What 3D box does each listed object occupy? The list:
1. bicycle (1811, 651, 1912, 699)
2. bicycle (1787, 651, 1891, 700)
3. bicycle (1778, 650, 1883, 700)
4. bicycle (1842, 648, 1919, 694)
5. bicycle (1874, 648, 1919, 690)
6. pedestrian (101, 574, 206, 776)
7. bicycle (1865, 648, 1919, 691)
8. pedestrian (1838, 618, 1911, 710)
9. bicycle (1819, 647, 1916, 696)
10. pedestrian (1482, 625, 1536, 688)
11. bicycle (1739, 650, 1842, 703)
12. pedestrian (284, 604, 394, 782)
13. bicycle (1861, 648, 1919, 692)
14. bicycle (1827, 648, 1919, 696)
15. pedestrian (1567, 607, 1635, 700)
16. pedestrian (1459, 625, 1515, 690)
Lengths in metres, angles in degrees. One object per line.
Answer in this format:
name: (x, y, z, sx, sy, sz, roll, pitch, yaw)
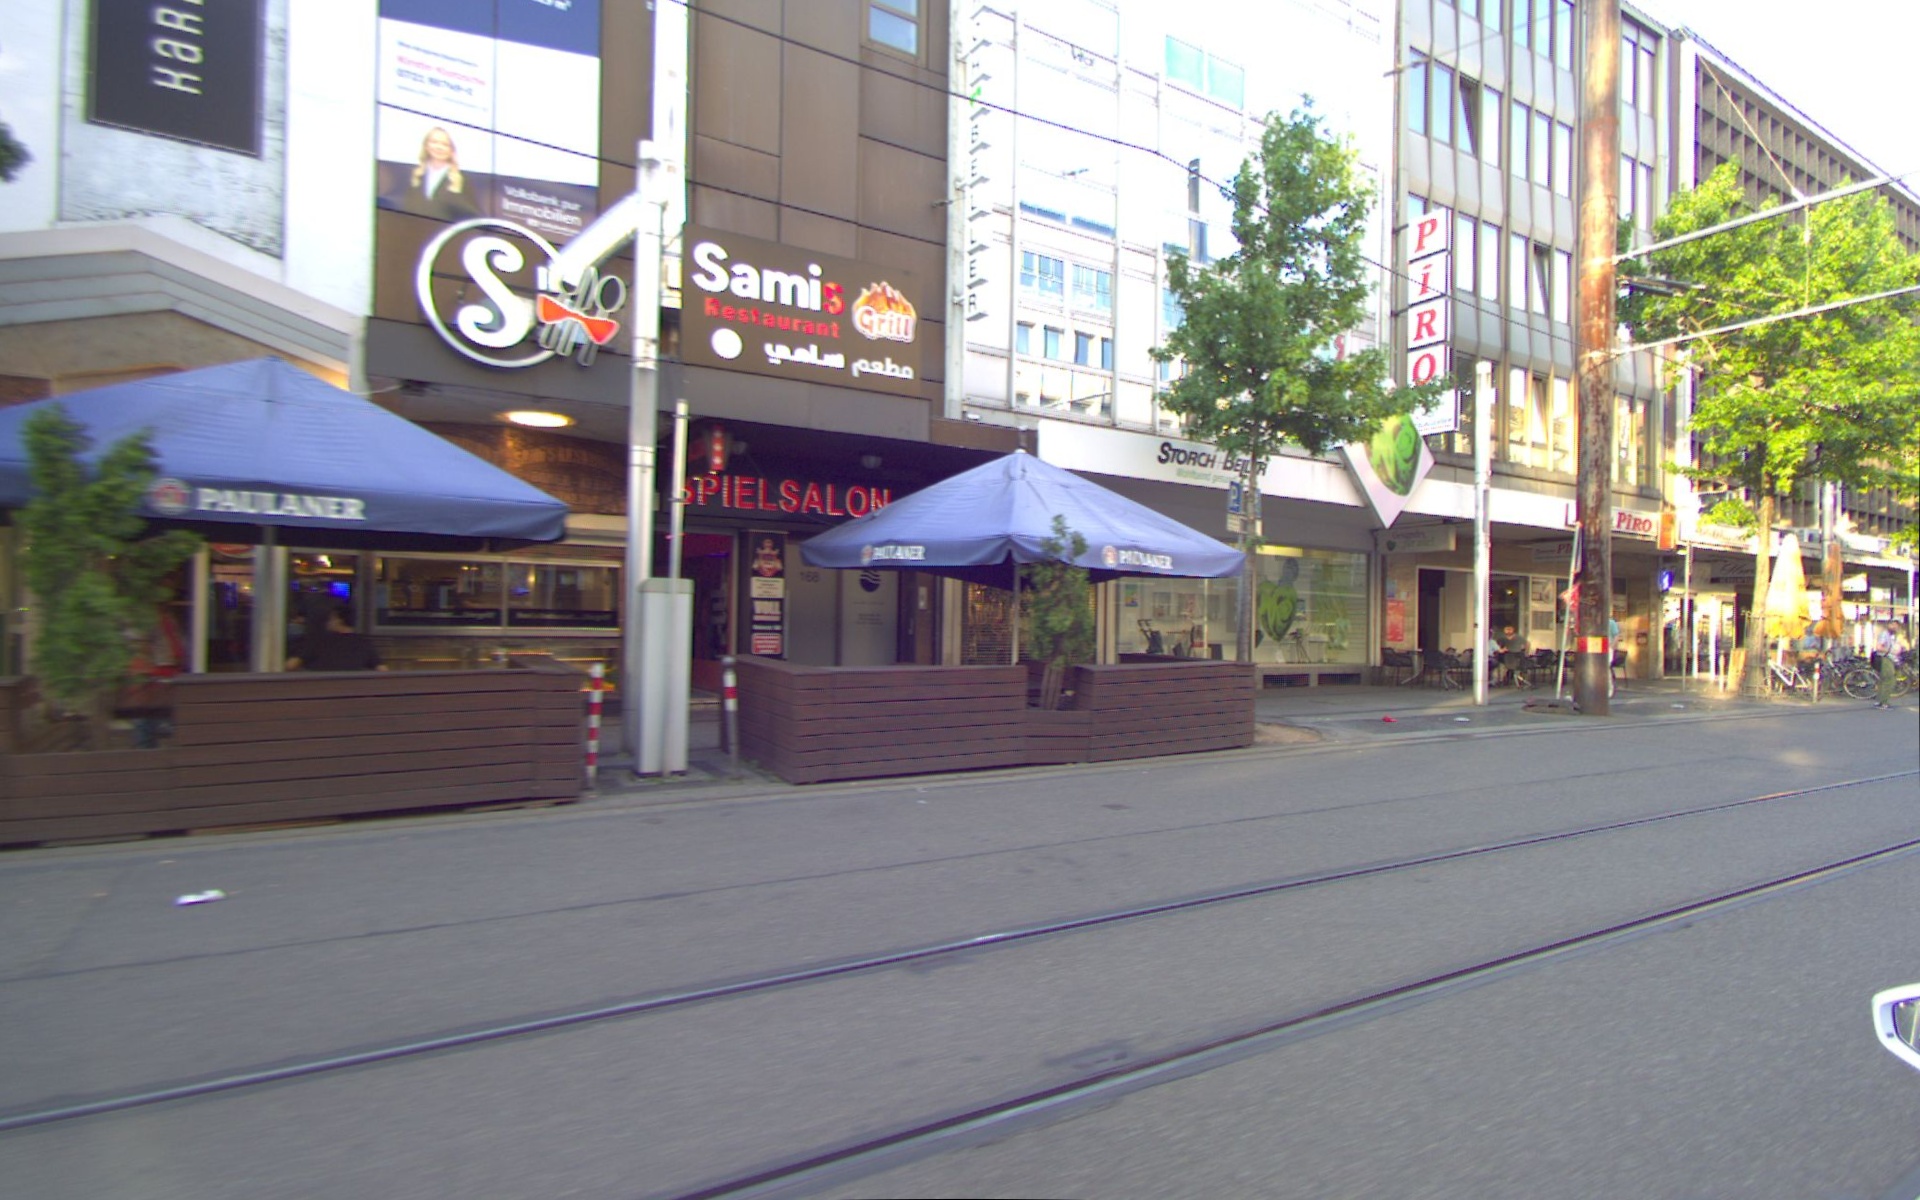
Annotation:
bicycle: (21.826, 1.794, 24.352, 0.485, 1.003, 1.759, 0, 1, -36)
bicycle: (20.637, 1.749, 23.622, 0.485, 1.003, 1.759, 0, 1, -36)
bicycle: (20.198, 1.733, 23.339, 0.485, 1.003, 1.759, 0, 1, -36)
bicycle: (24.627, 1.869, 26.640, 0.485, 1.085, 1.759, 1, 1, -36)
bicycle: (26.651, 1.946, 27.911, 0.485, 1.085, 1.759, 1, 1, -36)
pedestrian: (-6.633, 0.592, 8.291, 0.559, 1.573, 0.652, 2, 1, -33)
bicycle: (26.098, 1.925, 27.579, 0.485, 1.085, 1.759, 1, 1, -36)
pedestrian: (18.688, 1.285, 20.559, 0.806, 1.816, 0.990, 1, -1, 22)
bicycle: (23.135, 1.811, 25.632, 0.485, 1.085, 1.759, 1, 1, -36)
pedestrian: (12.374, 1.271, 22.623, 0.902, 1.343, 0.666, 2, 1, -33)
bicycle: (18.093, 1.656, 21.936, 0.481, 0.978, 1.772, 2, 0, -14)
pedestrian: (-5.359, 0.772, 8.690, 0.738, 1.420, 0.760, 2, 1, -32)
bicycle: (25.668, 1.908, 27.248, 0.485, 1.085, 1.759, 1, 1, -36)
bicycle: (23.610, 1.829, 25.950, 0.485, 1.085, 1.759, 1, 1, -36)
pedestrian: (12.976, 1.071, 20.341, 0.977, 1.816, 0.682, 2, 1, -26)
pedestrian: (11.461, 1.239, 21.848, 0.902, 1.343, 0.666, 2, 1, -33)
